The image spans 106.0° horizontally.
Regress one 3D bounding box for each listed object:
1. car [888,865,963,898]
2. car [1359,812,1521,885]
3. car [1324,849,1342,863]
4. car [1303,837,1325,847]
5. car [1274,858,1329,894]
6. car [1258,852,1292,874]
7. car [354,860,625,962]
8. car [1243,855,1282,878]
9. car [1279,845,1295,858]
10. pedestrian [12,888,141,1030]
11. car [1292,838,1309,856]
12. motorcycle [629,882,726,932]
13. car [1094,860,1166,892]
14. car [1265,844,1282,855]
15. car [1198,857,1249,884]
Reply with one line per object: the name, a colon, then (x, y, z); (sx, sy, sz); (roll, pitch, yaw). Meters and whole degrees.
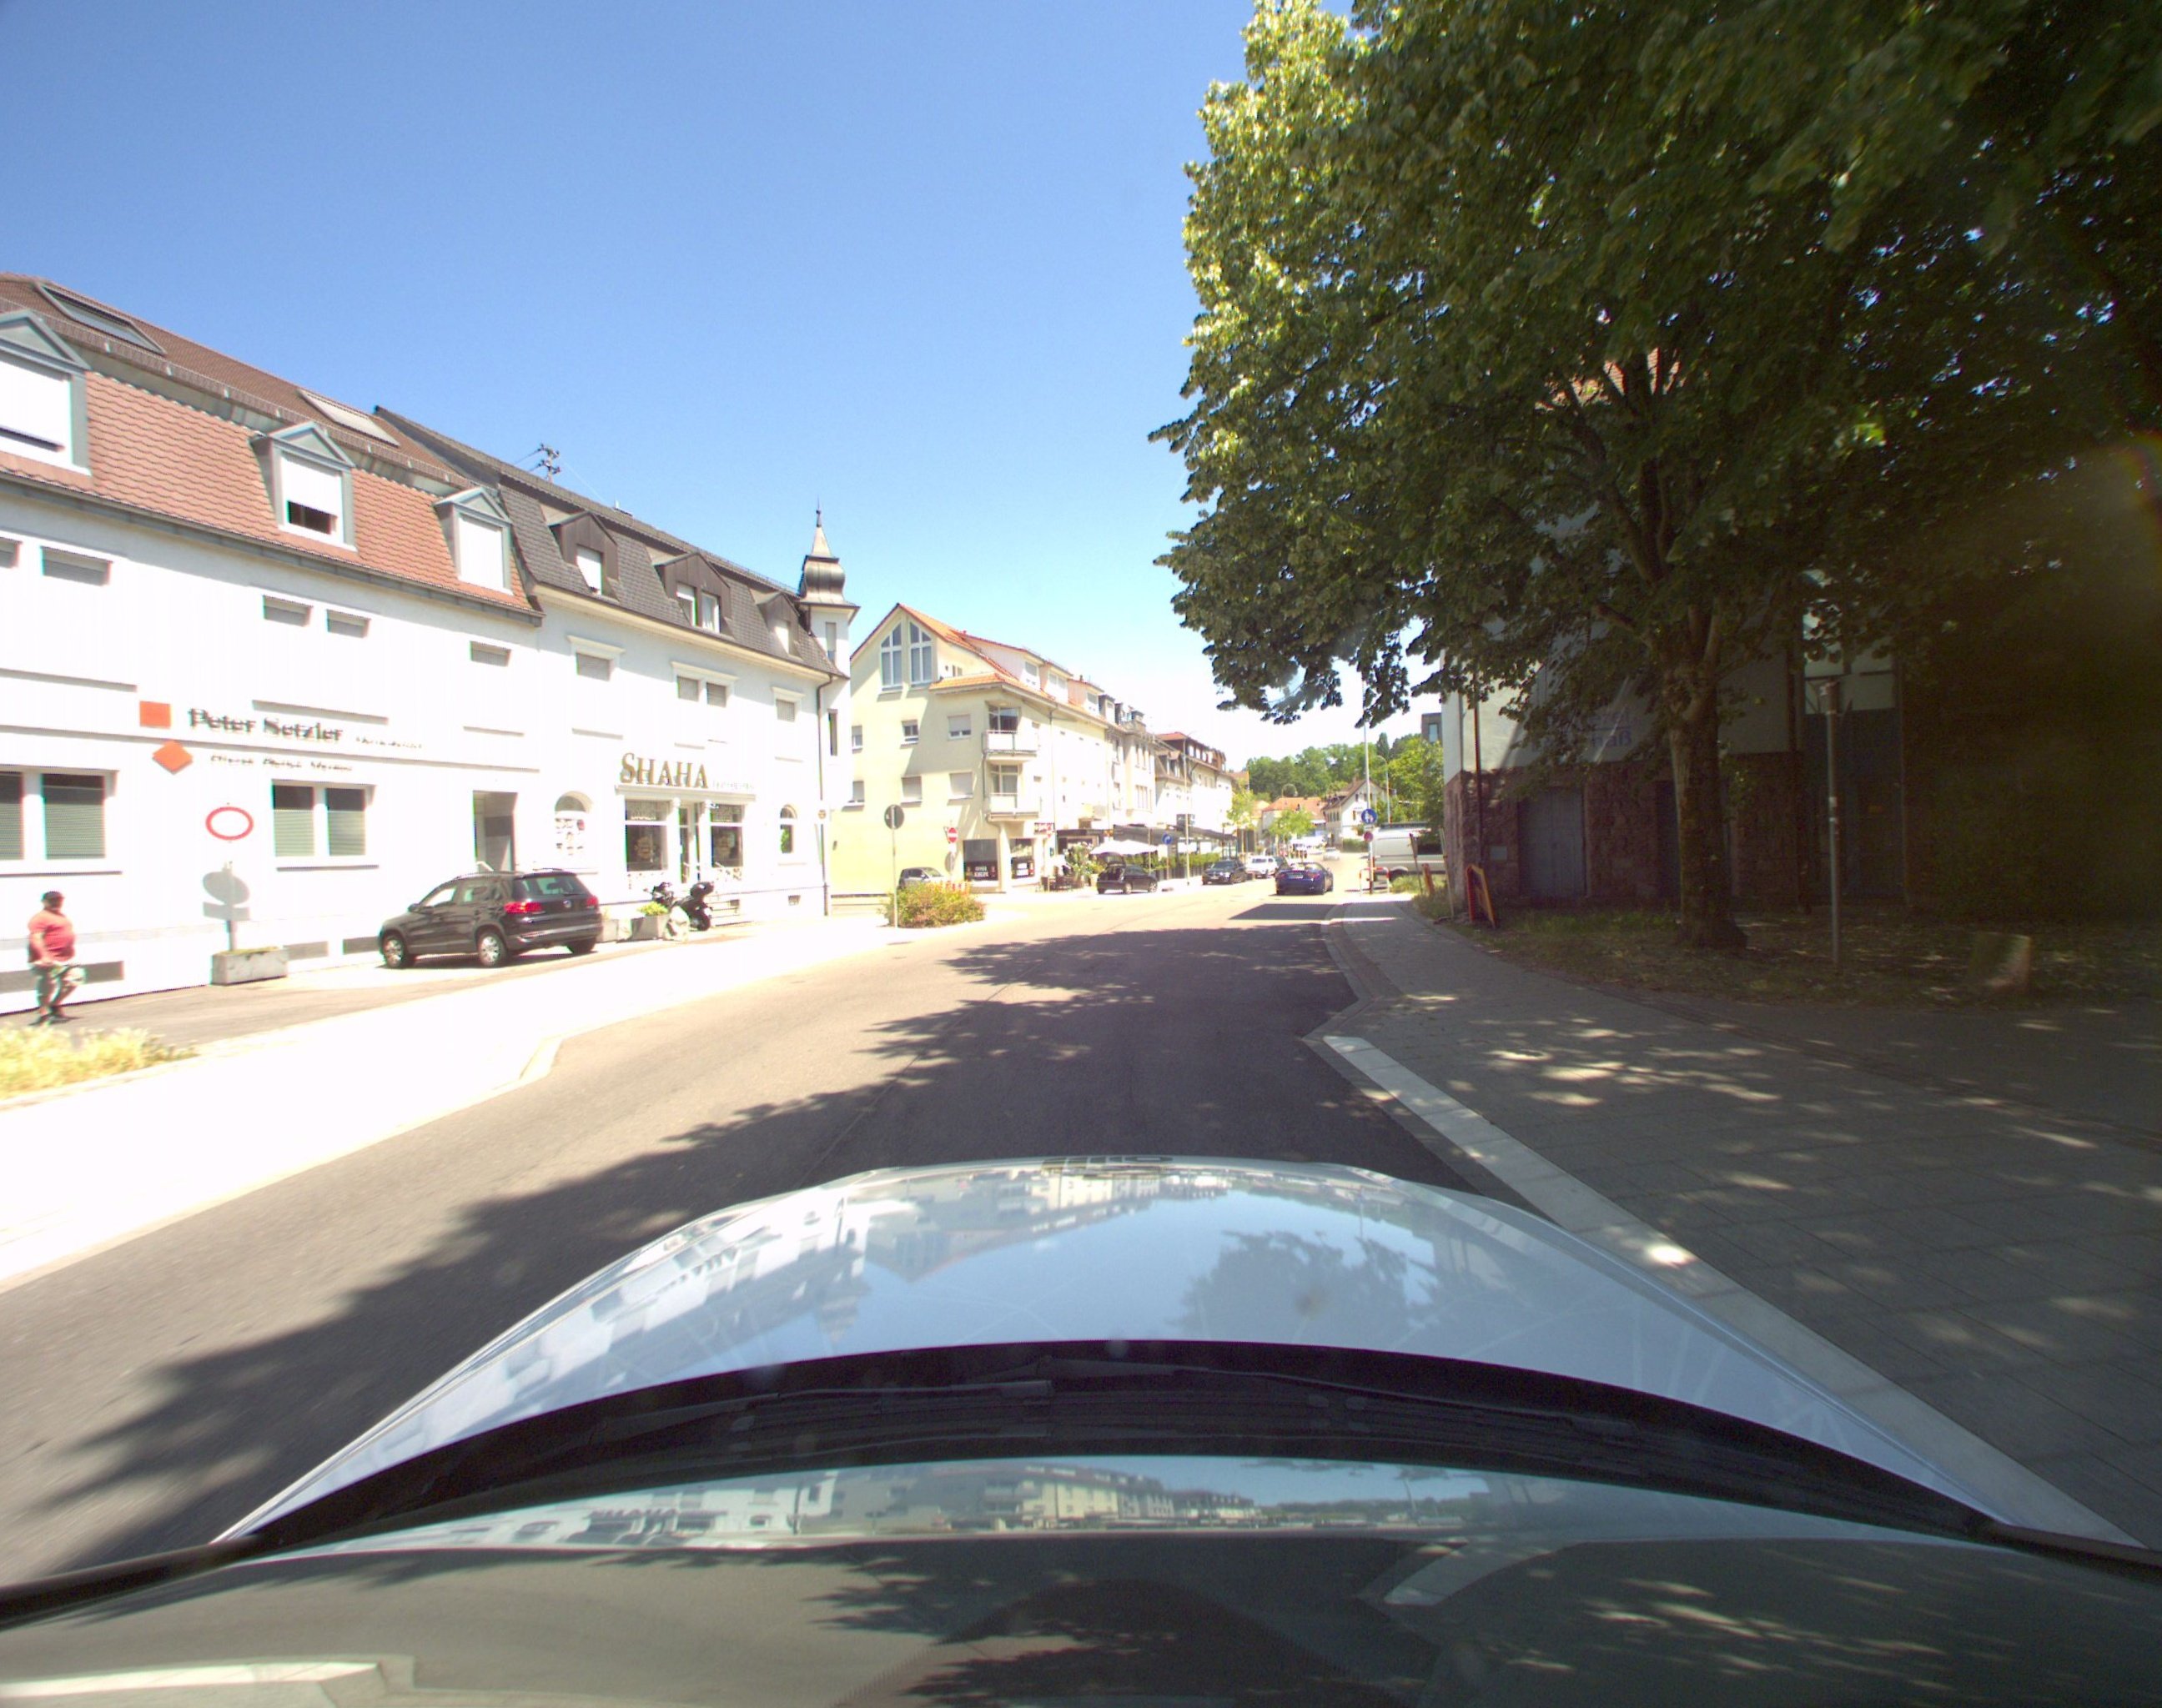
car: (-7.854, 1.377, 41.143); (3.236, 1.458, 1.700); (-2, 0, 18)
car: (14.839, -0.194, 33.967); (5.887, 2.732, 2.208); (-2, 0, 23)
car: (29.673, 0.177, 95.837); (1.673, 1.458, 4.078); (-4, -1, 19)
car: (49.997, -2.527, 174.772); (4.274, 2.014, 1.986); (-1, -2, -21)
car: (9.317, 0.871, 34.121); (1.855, 1.342, 4.619); (-1, 0, 19)
car: (14.628, 0.648, 61.310); (1.654, 1.443, 4.033); (-2, 0, 26)
car: (-10.950, 1.031, 15.147); (4.146, 1.662, 1.980); (-2, 0, 18)
car: (12.602, 0.835, 56.308); (1.629, 1.479, 3.965); (0, 1, 28)
car: (30.227, -0.315, 119.478); (1.981, 1.738, 4.011); (-2, 0, 10)
pedestrian: (-13.380, 1.358, 10.874); (0.736, 1.754, 0.735); (-3, -1, -14)
car: (29.633, -0.968, 110.215); (1.854, 2.400, 4.834); (-2, 0, 12)
motorcycle: (-10.468, 1.383, 21.109); (2.374, 1.217, 0.838); (-2, -1, 20)
car: (2.474, 1.031, 40.350); (1.696, 1.460, 4.156); (0, 0, 33)
car: (31.190, -0.682, 131.867); (1.985, 1.692, 4.004); (-2, 0, 4)
car: (8.741, 0.992, 49.527); (1.817, 1.429, 4.811); (-1, 1, 26)
